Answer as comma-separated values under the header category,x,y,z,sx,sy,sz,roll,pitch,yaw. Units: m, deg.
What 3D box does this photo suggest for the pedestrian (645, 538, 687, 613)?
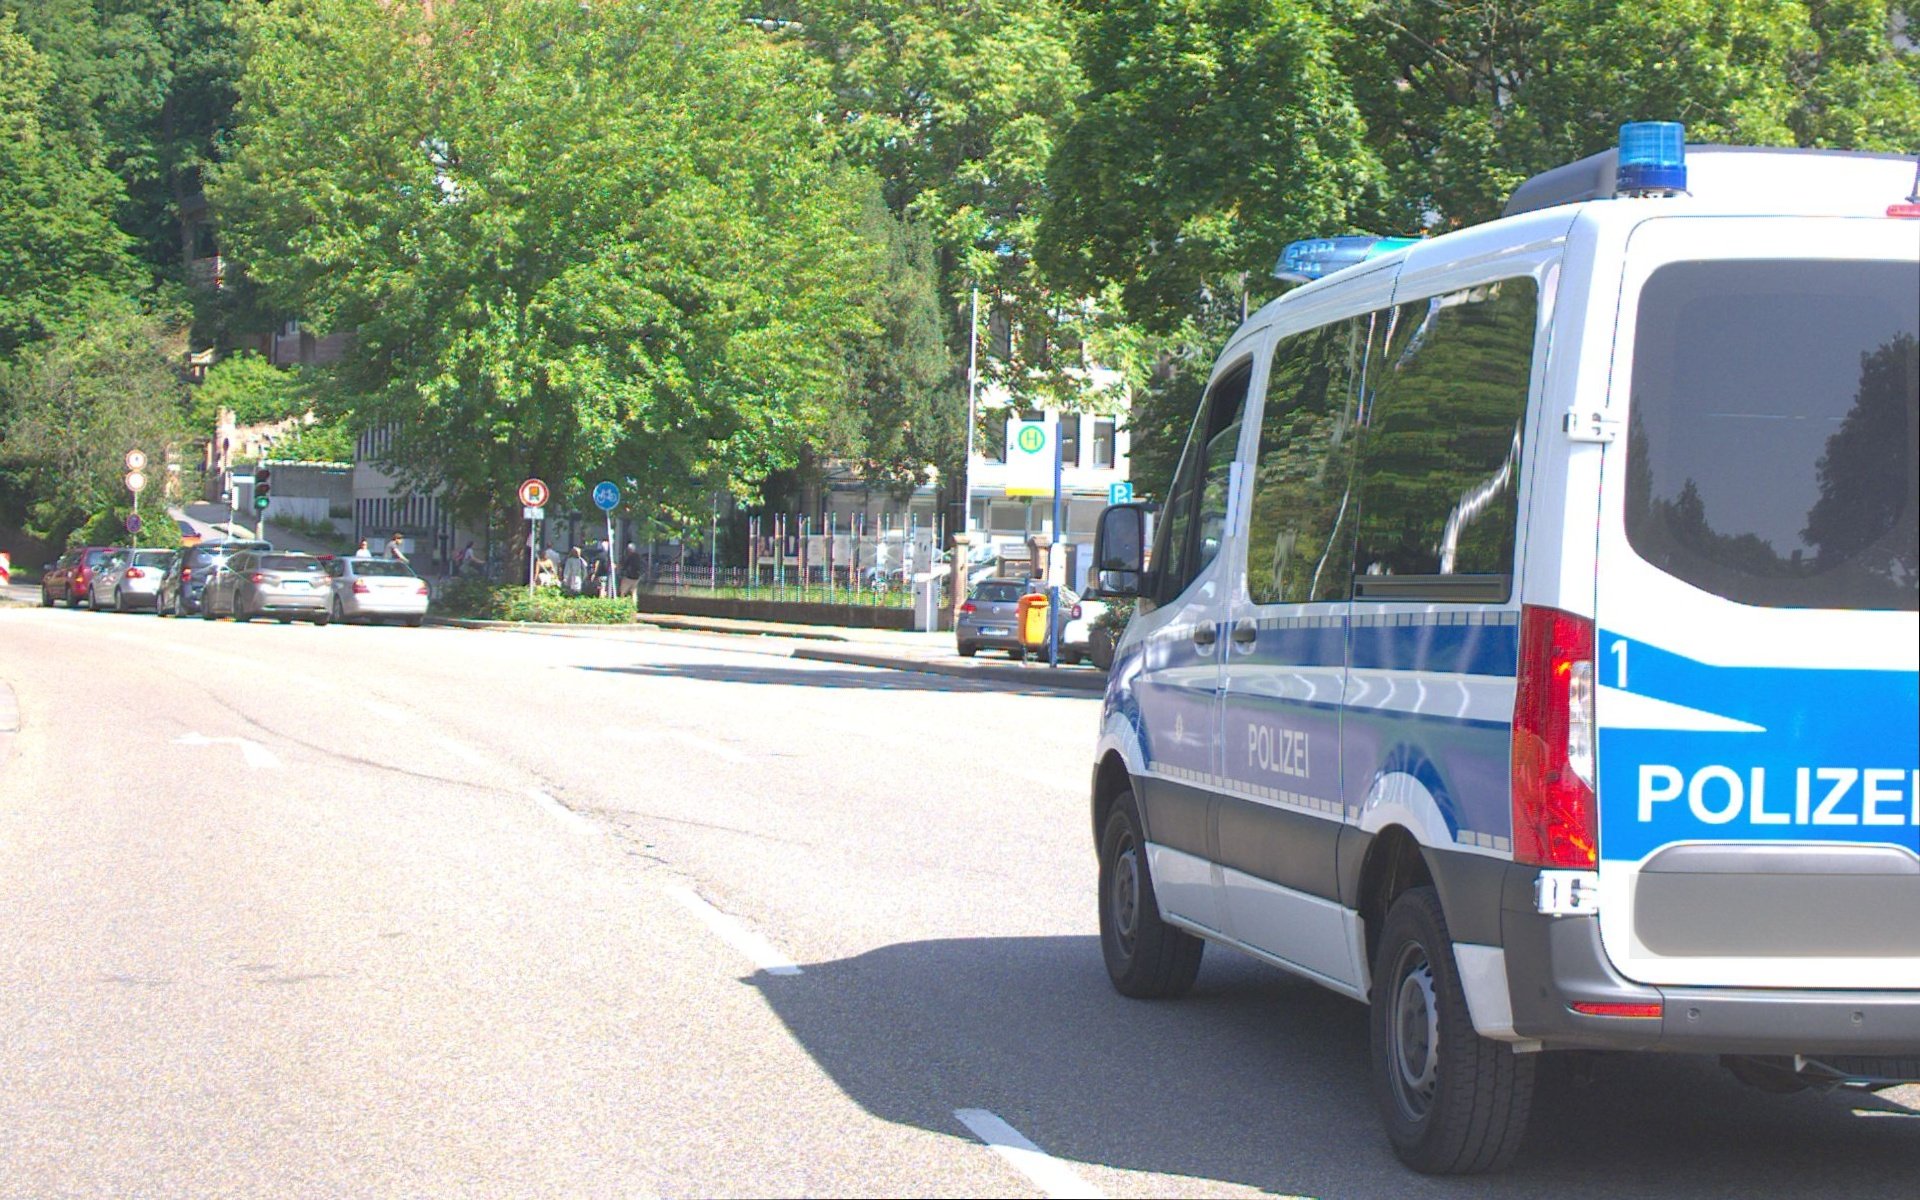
category,x,y,z,sx,sy,sz,roll,pitch,yaw
pedestrian,-7.457,-0.623,87.201,0.771,1.848,0.830,2,1,-24

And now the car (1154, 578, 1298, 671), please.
category,x,y,z,sx,sy,sz,roll,pitch,yaw
car,4.514,0.393,57.917,1.709,1.437,3.809,2,1,15

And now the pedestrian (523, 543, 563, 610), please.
category,x,y,z,sx,sy,sz,roll,pitch,yaw
pedestrian,-10.548,-0.600,87.005,0.771,1.657,0.830,2,1,-22

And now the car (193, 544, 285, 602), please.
category,x,y,z,sx,sy,sz,roll,pitch,yaw
car,-19.527,-0.746,92.996,1.755,1.456,3.495,2,1,-23

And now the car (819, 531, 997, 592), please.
category,x,y,z,sx,sy,sz,roll,pitch,yaw
car,-1.338,-0.991,88.658,4.142,1.471,1.878,1,1,-27

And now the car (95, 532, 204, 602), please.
category,x,y,z,sx,sy,sz,roll,pitch,yaw
car,-18.179,-0.748,77.033,1.755,1.456,3.647,2,1,-23

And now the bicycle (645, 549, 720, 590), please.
category,x,y,z,sx,sy,sz,roll,pitch,yaw
bicycle,-8.018,-0.876,99.287,2.076,1.109,0.757,1,1,-10

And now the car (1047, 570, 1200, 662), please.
category,x,y,z,sx,sy,sz,roll,pitch,yaw
car,2.916,0.273,60.461,1.709,1.506,3.808,2,1,18

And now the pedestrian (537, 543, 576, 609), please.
category,x,y,z,sx,sy,sz,roll,pitch,yaw
pedestrian,-10.344,-0.606,88.105,0.771,1.657,0.830,2,1,-22

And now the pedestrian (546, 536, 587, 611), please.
category,x,y,z,sx,sy,sz,roll,pitch,yaw
pedestrian,-9.859,-0.659,86.147,0.771,1.848,0.830,2,1,-21

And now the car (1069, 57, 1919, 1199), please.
category,x,y,z,sx,sy,sz,roll,pitch,yaw
car,1.855,0.121,9.799,2.073,2.500,4.930,2,0,-10

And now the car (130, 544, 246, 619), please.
category,x,y,z,sx,sy,sz,roll,pitch,yaw
car,-16.350,-0.403,72.701,1.755,1.456,3.495,2,1,-23

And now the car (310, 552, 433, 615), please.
category,x,y,z,sx,sy,sz,roll,pitch,yaw
car,-12.370,-0.359,72.141,1.755,1.209,3.495,2,1,-23

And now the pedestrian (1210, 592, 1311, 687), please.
category,x,y,z,sx,sy,sz,roll,pitch,yaw
pedestrian,3.876,0.510,44.344,1.018,1.193,0.791,1,1,-43

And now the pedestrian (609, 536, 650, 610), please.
category,x,y,z,sx,sy,sz,roll,pitch,yaw
pedestrian,-8.359,-0.686,86.945,0.771,1.848,0.830,2,1,-24

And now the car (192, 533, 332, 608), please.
category,x,y,z,sx,sy,sz,roll,pitch,yaw
car,-13.633,-0.591,67.032,1.756,1.329,3.802,2,1,-26

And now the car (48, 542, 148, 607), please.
category,x,y,z,sx,sy,sz,roll,pitch,yaw
car,-20.641,-0.618,82.259,1.755,1.456,3.495,2,1,-23

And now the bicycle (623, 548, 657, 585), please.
category,x,y,z,sx,sy,sz,roll,pitch,yaw
bicycle,-9.722,-1.030,104.327,0.537,1.081,1.835,1,1,-21

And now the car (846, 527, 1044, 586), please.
category,x,y,z,sx,sy,sz,roll,pitch,yaw
car,-0.362,-1.057,83.878,4.465,1.331,1.822,1,1,-25

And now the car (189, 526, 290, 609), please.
category,x,y,z,sx,sy,sz,roll,pitch,yaw
car,-17.831,-0.821,84.962,1.755,1.931,3.495,2,1,-23

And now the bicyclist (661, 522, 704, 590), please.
category,x,y,z,sx,sy,sz,roll,pitch,yaw
bicyclist,-8.003,-1.281,99.277,1.125,1.926,0.748,2,0,-10

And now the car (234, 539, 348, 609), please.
category,x,y,z,sx,sy,sz,roll,pitch,yaw
car,-15.042,-0.600,77.188,1.755,1.456,3.647,2,1,-23

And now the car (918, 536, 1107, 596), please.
category,x,y,z,sx,sy,sz,roll,pitch,yaw
car,1.240,-0.810,81.789,4.084,1.331,1.822,1,1,-25

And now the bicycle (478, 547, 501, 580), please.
category,x,y,z,sx,sy,sz,roll,pitch,yaw
bicycle,-14.763,-1.142,107.891,0.405,1.009,1.341,1,1,-22

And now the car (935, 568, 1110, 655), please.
category,x,y,z,sx,sy,sz,roll,pitch,yaw
car,1.180,0.200,62.510,1.824,1.456,4.103,2,1,21

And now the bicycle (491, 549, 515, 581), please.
category,x,y,z,sx,sy,sz,roll,pitch,yaw
bicycle,-14.091,-1.077,105.950,0.405,0.938,1.341,1,1,-22

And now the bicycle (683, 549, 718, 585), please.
category,x,y,z,sx,sy,sz,roll,pitch,yaw
bicycle,-7.916,-1.008,104.906,0.537,1.081,1.835,1,1,-21

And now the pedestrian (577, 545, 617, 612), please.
category,x,y,z,sx,sy,sz,roll,pitch,yaw
pedestrian,-9.158,-0.547,86.697,0.771,1.657,0.830,2,1,-21

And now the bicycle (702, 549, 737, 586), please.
category,x,y,z,sx,sy,sz,roll,pitch,yaw
bicycle,-7.364,-1.001,105.136,0.537,1.081,1.835,1,1,-21
